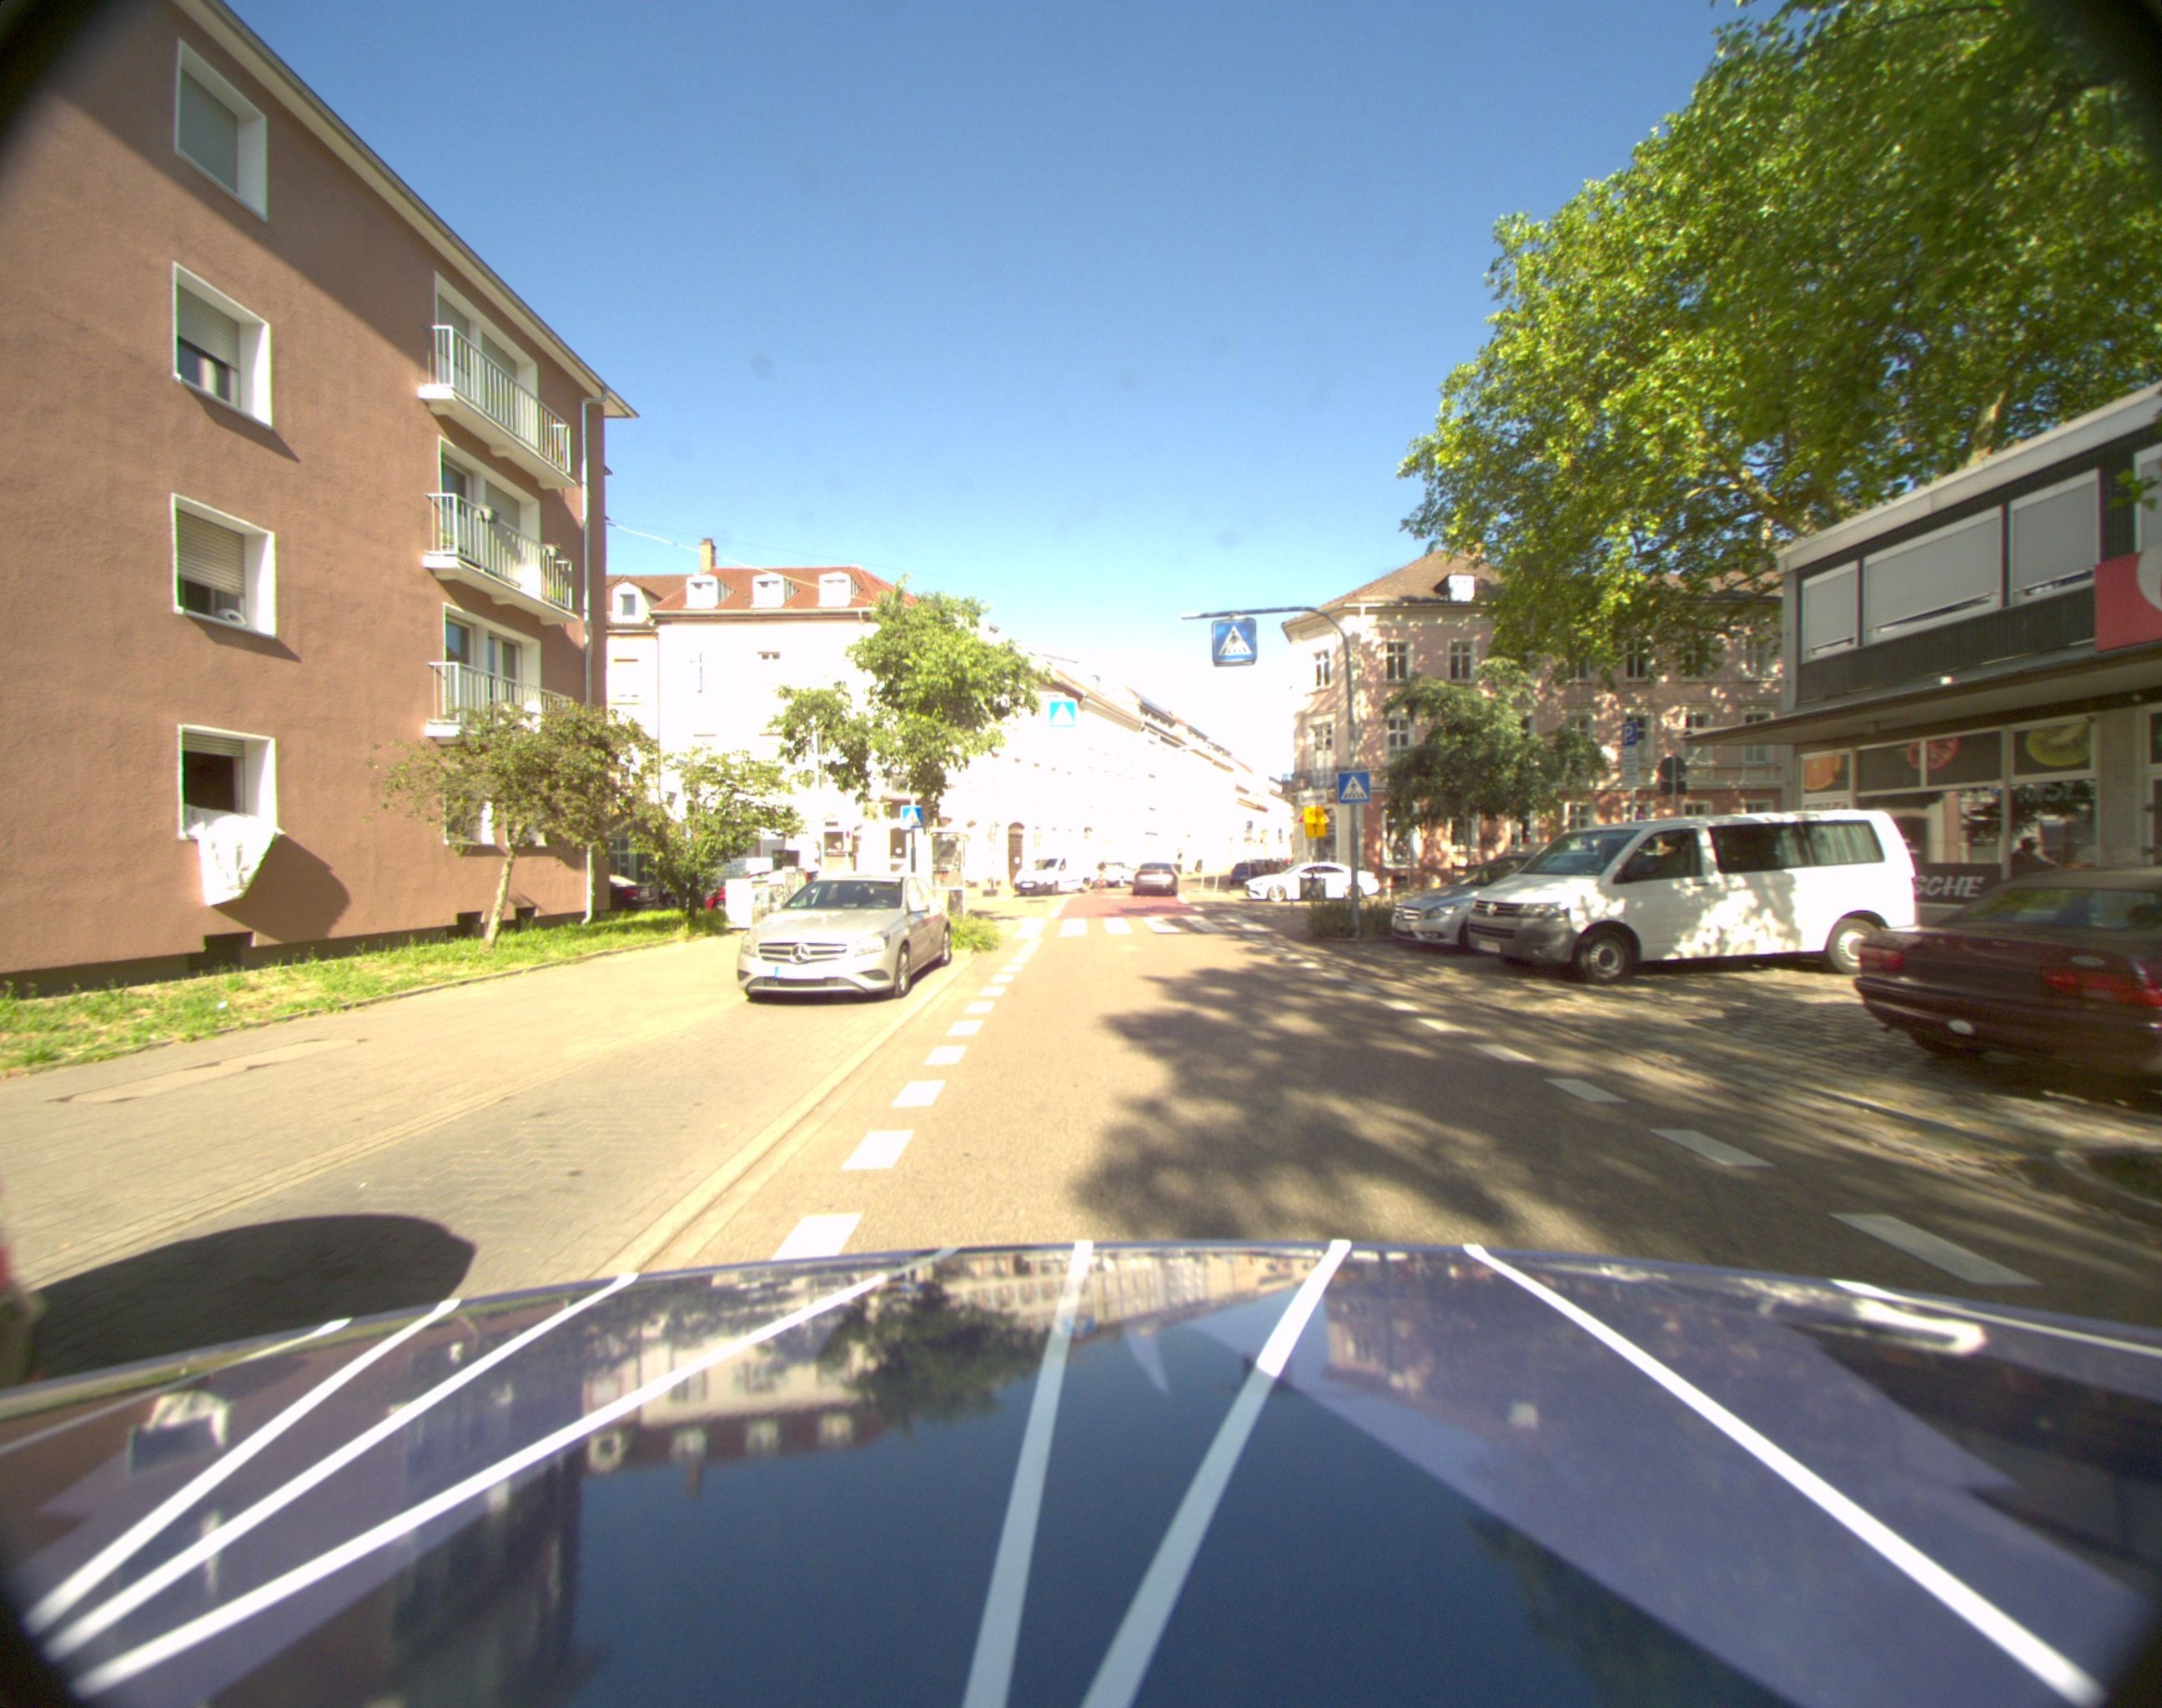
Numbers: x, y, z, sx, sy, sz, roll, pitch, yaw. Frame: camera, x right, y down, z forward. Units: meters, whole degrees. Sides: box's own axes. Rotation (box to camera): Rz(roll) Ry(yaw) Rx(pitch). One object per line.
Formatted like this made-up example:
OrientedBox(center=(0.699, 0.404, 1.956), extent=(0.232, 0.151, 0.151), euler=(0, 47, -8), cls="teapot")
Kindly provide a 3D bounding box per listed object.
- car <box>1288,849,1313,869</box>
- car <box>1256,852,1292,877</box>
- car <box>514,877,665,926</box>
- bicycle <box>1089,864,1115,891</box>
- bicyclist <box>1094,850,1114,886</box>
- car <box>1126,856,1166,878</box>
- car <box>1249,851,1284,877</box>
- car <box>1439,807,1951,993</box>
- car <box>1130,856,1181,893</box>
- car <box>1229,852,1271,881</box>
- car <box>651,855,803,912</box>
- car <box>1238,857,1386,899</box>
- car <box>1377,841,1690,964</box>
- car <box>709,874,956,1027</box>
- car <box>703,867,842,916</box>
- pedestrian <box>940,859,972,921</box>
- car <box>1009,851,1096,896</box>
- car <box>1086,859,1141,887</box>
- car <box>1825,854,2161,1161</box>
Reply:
OrientedBox(center=(19.492, 0.430, 67.286), extent=(1.516, 1.652, 4.007), euler=(-1, 0, 24), cls="car")
OrientedBox(center=(13.957, 0.734, 54.774), extent=(1.854, 1.652, 4.007), euler=(-1, 0, 24), cls="car")
OrientedBox(center=(-15.264, 1.459, 23.722), extent=(3.648, 1.394, 1.568), euler=(-1, 0, 0), cls="car")
OrientedBox(center=(1.009, 1.097, 35.892), extent=(0.874, 1.179, 2.293), euler=(-1, 0, 11), cls="bicycle")
OrientedBox(center=(1.105, 0.659, 36.188), extent=(0.846, 1.663, 0.819), euler=(0, 1, 10), cls="bicyclist")
OrientedBox(center=(4.315, 0.846, 50.017), extent=(1.632, 1.412, 3.299), euler=(-1, 0, 23), cls="car")
OrientedBox(center=(12.209, 0.648, 49.960), extent=(1.505, 1.652, 4.007), euler=(-1, 0, 24), cls="car")
OrientedBox(center=(7.503, 0.518, 9.650), extent=(4.996, 1.958, 1.909), euler=(-2, 0, -2), cls="car")
OrientedBox(center=(3.249, 0.829, 32.569), extent=(1.997, 1.455, 4.002), euler=(-1, 0, 7), cls="car")
OrientedBox(center=(10.257, 0.726, 45.936), extent=(1.670, 1.628, 4.055), euler=(-1, 0, 24), cls="car")
OrientedBox(center=(-13.325, 1.073, 28.848), extent=(4.756, 2.002, 1.999), euler=(-1, 0, -4), cls="car")
OrientedBox(center=(8.335, 0.840, 27.735), extent=(4.801, 1.417, 2.000), euler=(-1, 0, 2), cls="car")
OrientedBox(center=(7.104, 0.725, 12.227), extent=(3.997, 1.781, 1.757), euler=(-1, 0, -1), cls="car")
OrientedBox(center=(-2.839, 1.030, 9.666), extent=(1.735, 1.420, 4.000), euler=(-1, 0, 1), cls="car")
OrientedBox(center=(-9.538, 1.151, 23.674), extent=(3.648, 1.394, 1.568), euler=(-1, 0, 0), cls="car")
OrientedBox(center=(-3.378, 0.956, 20.610), extent=(0.727, 1.630, 0.808), euler=(-1, 1, 0), cls="pedestrian")
OrientedBox(center=(-1.233, 0.849, 35.219), extent=(1.908, 1.924, 4.817), euler=(-1, 0, 26), cls="car")
OrientedBox(center=(1.939, 1.084, 44.087), extent=(2.130, 1.487, 3.951), euler=(-1, 0, 19), cls="car")
OrientedBox(center=(7.499, 0.742, 4.749), extent=(3.997, 1.413, 1.737), euler=(-4, 0, -2), cls="car")
